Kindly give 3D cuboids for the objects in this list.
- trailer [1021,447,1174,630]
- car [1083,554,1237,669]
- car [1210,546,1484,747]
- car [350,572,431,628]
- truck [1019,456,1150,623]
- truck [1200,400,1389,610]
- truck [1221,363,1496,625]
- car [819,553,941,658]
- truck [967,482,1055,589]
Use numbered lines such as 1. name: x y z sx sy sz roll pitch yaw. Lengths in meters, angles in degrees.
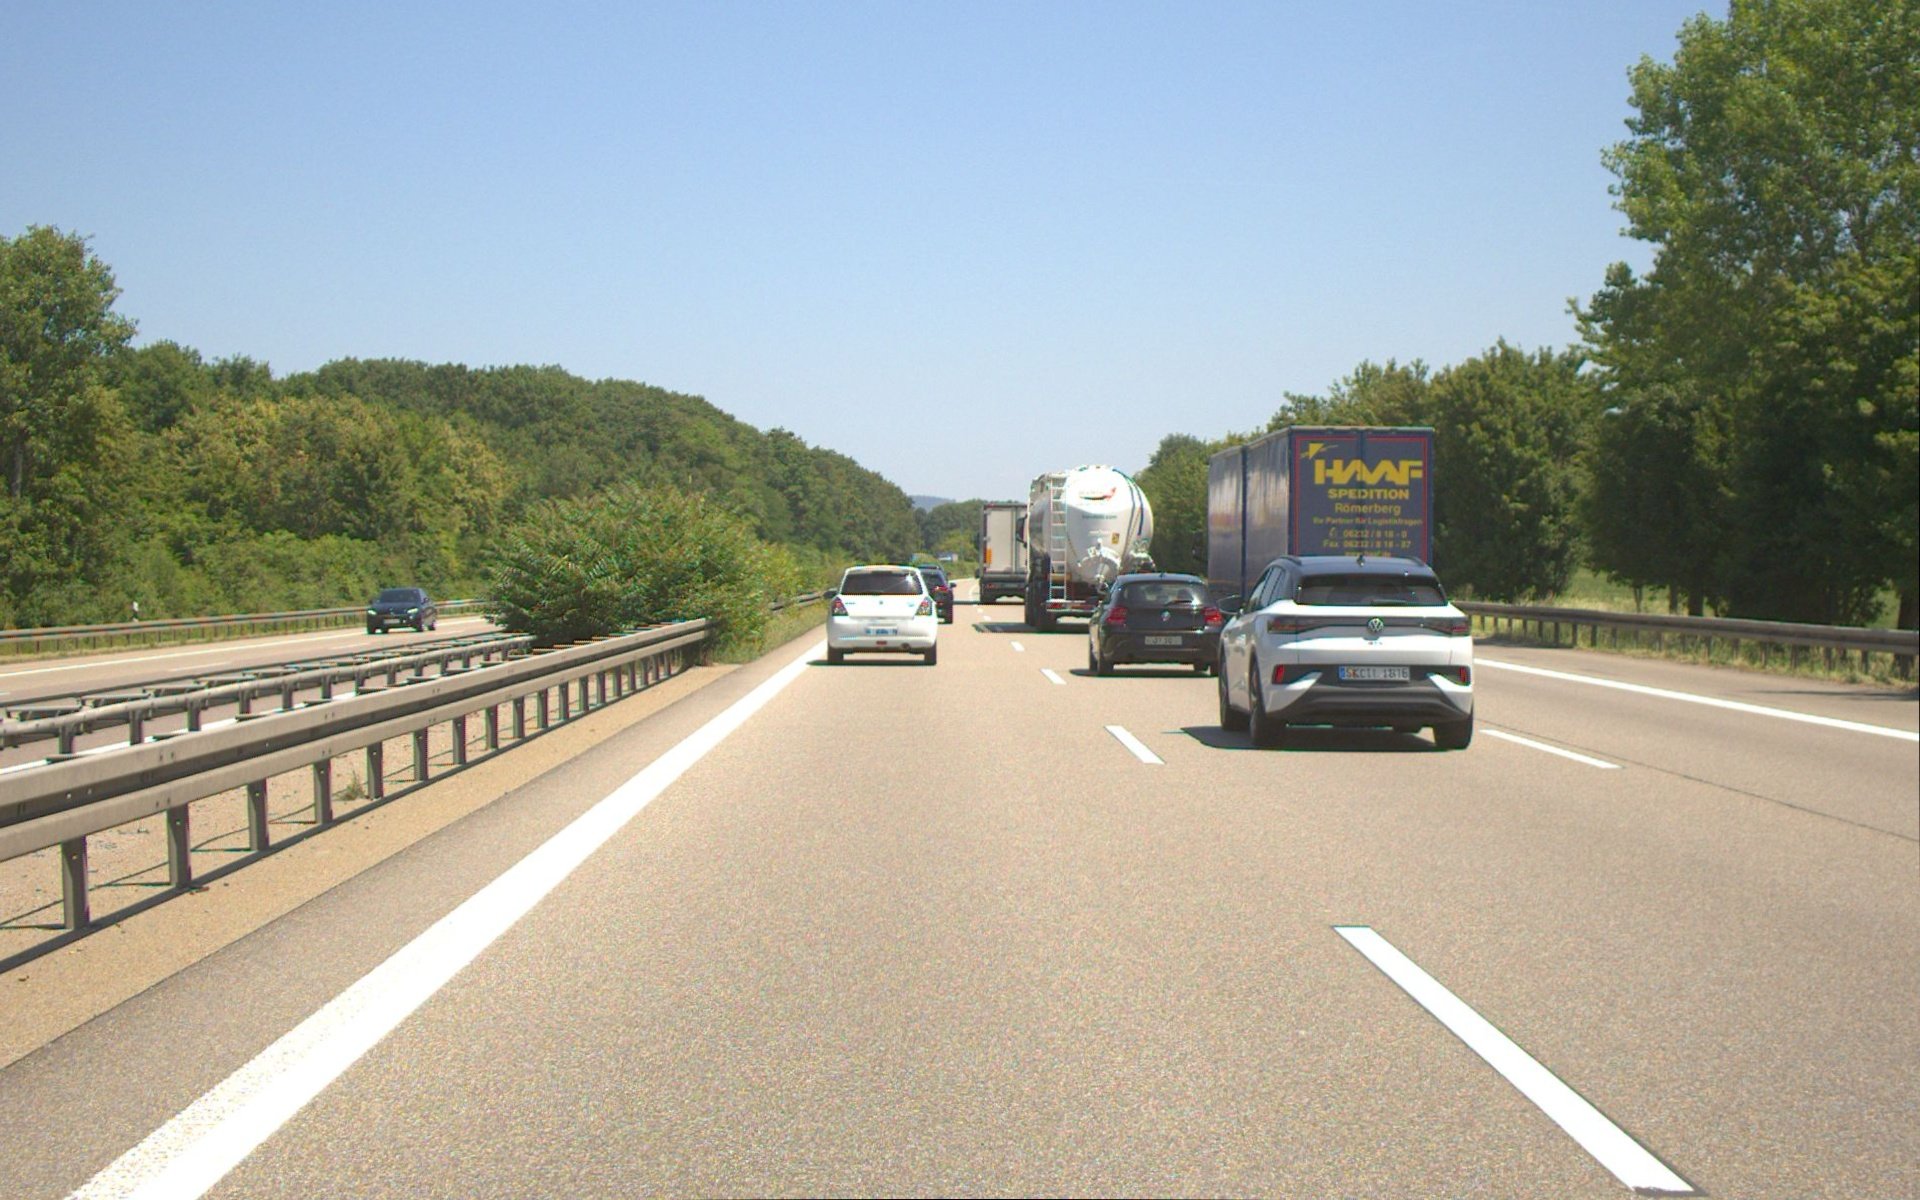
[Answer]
1. trailer: 3.198 -1.481 83.429 2.911 4.055 12.419 1 1 -1
2. car: 2.768 0.131 48.421 1.850 1.518 3.957 1 1 -1
3. car: 3.297 0.345 30.038 1.802 1.597 4.381 1 1 -1
4. car: -18.493 -0.020 111.722 1.924 1.711 4.288 -1 1 0
5. truck: 3.123 -1.550 88.318 2.912 4.065 7.195 1 1 -1
6. truck: 6.936 -1.954 72.345 3.109 4.124 8.056 1 1 0
7. truck: 6.945 -1.810 62.622 3.109 4.124 15.512 1 1 0
8. car: -1.245 0.060 53.277 1.799 1.546 3.610 1 1 -2
9. truck: 2.039 -2.651 142.167 3.394 4.199 12.083 1 1 0
